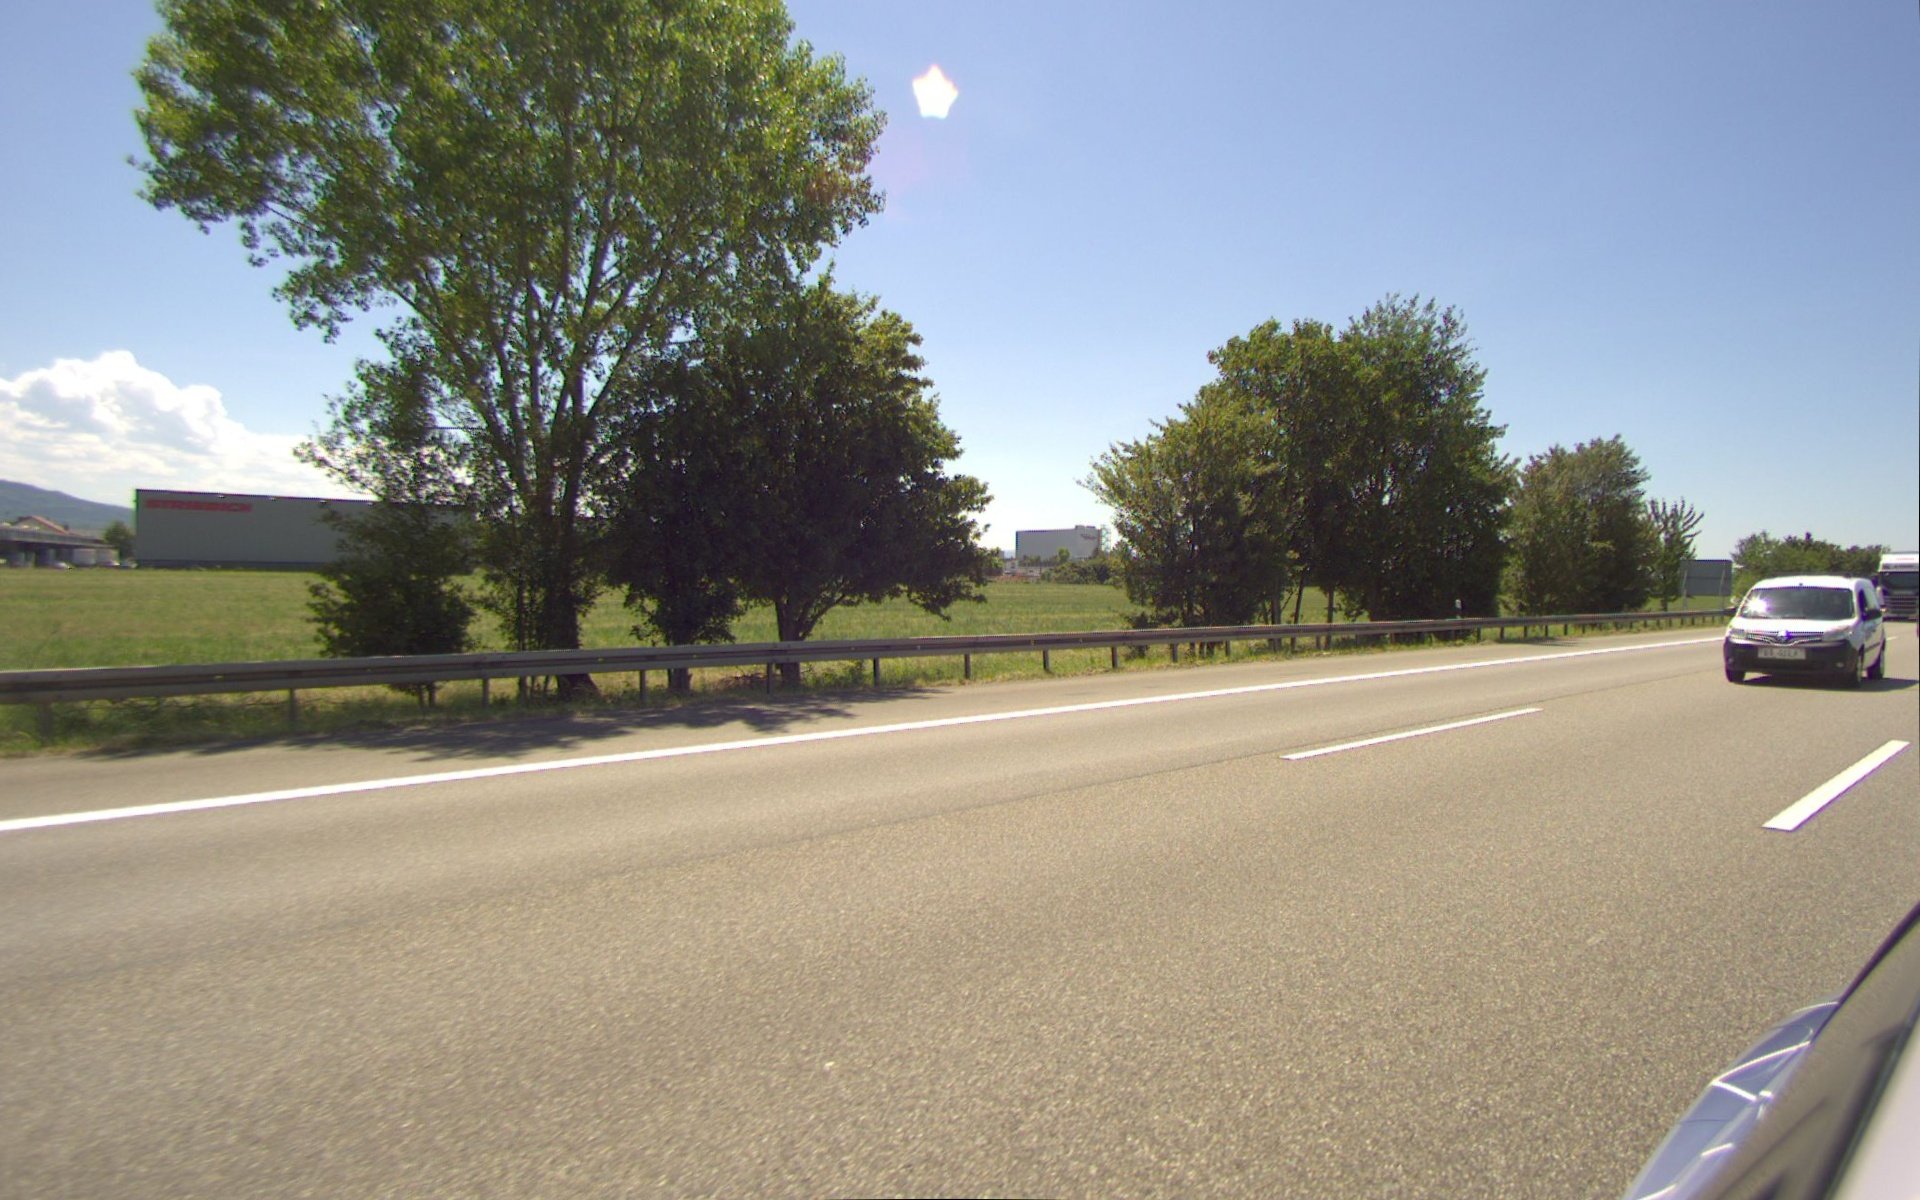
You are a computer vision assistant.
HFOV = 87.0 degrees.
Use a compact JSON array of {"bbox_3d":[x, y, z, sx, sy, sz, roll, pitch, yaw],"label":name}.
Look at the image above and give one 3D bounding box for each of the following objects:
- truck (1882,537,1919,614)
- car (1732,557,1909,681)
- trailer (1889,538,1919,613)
[{"bbox_3d":[56.520,-1.402,59.342,7.067,4.359,2.815,0,0,-41],"label":"truck"},{"bbox_3d":[15.142,0.276,17.710,4.623,1.886,1.855,0,0,-43],"label":"car"},{"bbox_3d":[61.136,-1.432,63.309,14.004,4.359,2.815,0,0,-41],"label":"trailer"}]
